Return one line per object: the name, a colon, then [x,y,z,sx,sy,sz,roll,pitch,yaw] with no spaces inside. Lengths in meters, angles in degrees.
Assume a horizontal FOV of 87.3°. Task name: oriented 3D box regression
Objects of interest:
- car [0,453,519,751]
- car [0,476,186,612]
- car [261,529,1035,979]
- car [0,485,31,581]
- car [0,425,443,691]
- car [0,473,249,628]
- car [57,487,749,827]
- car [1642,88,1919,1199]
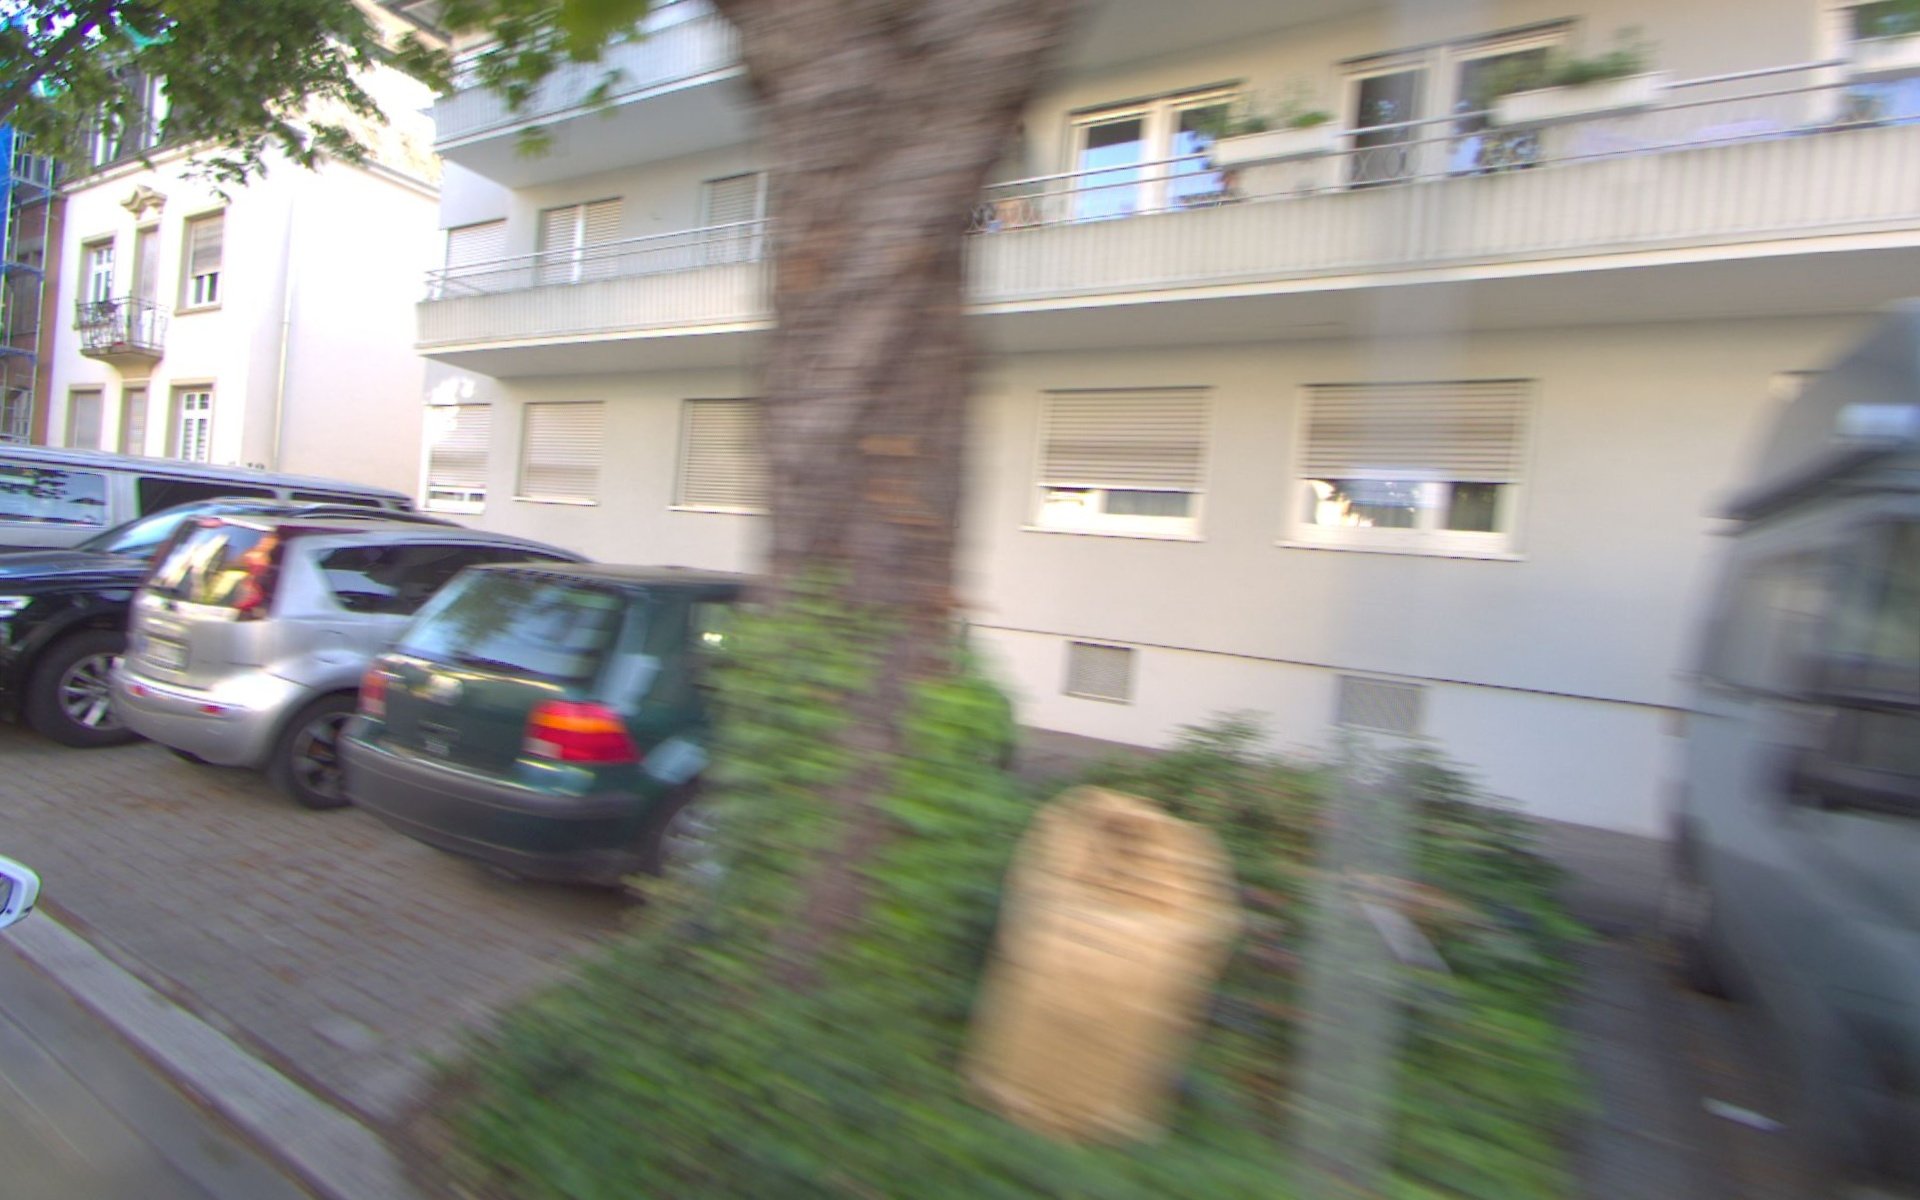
car: [-5.744,-0.010,7.687,1.734,1.746,4.183,6,1,24]
car: [-12.999,-0.799,13.063,1.677,1.706,4.332,7,3,31]
car: [-1.228,0.555,5.398,1.729,1.449,3.723,5,0,30]
car: [-17.489,-1.214,15.624,1.820,1.560,4.155,6,3,31]
car: [-7.529,-0.339,9.315,1.864,2.039,4.474,6,1,29]
car: [-11.072,-0.615,11.915,1.678,1.706,3.946,7,3,34]
car: [-3.349,0.300,6.785,1.612,1.574,3.723,6,1,30]
car: [3.603,0.343,2.912,2.041,2.941,5.097,7,2,30]
